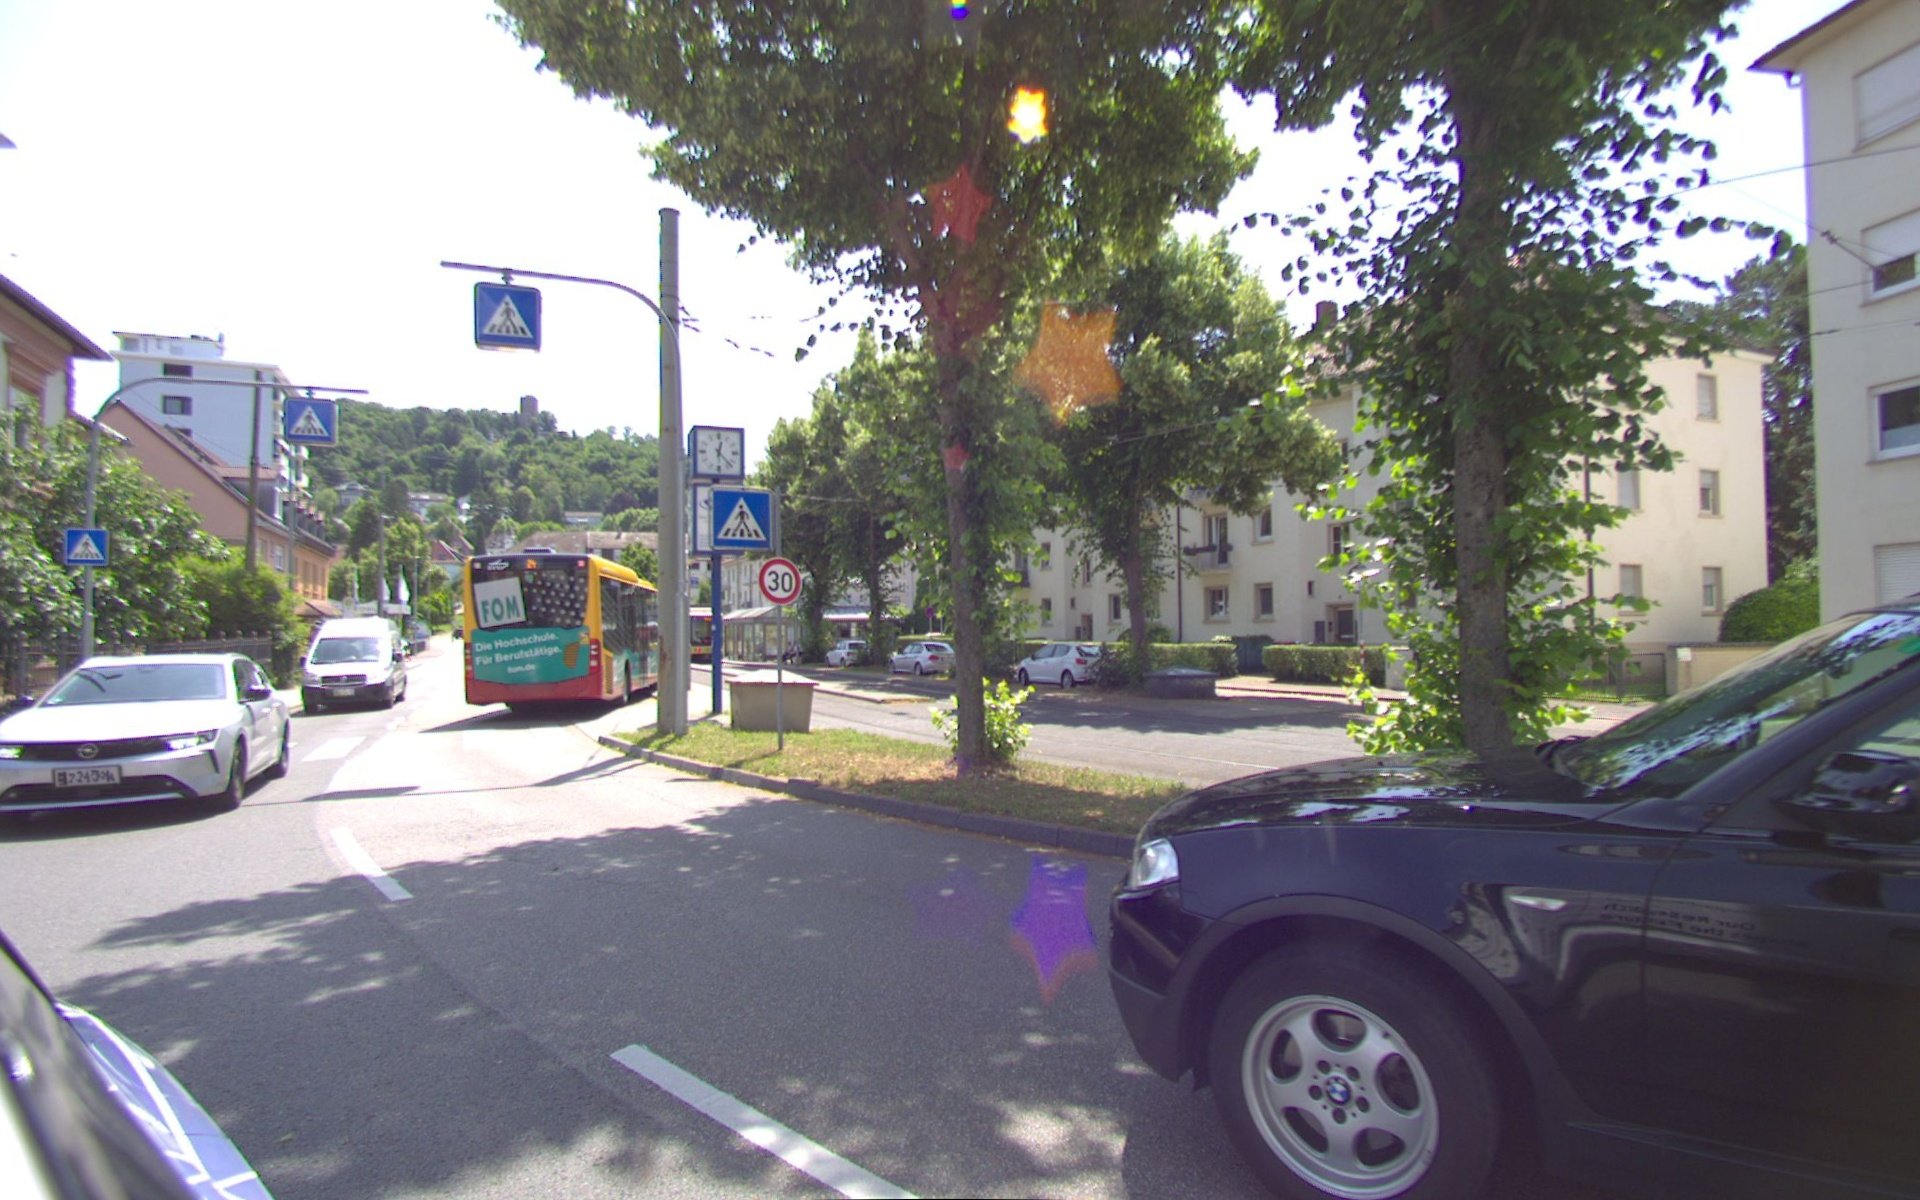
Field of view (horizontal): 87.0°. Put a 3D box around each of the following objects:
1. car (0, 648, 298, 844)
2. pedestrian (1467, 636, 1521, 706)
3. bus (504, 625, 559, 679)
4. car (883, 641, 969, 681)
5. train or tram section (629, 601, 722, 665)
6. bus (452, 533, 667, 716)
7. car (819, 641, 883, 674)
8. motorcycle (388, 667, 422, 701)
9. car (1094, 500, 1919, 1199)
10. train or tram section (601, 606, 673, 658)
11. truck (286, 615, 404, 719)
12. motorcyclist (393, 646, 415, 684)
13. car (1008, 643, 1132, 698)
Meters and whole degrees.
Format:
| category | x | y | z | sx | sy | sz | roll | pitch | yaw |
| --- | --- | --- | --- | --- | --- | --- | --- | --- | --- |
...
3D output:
| category | x | y | z | sx | sy | sz | roll | pitch | yaw |
| --- | --- | --- | --- | --- | --- | --- | --- | --- | --- |
| car | -7.903 | 1.237 | 9.983 | 1.771 | 1.477 | 4.184 | -1 | -2 | -26 |
| pedestrian | 12.407 | 1.641 | 23.517 | 0.764 | 1.572 | 0.746 | 0 | -2 | -27 |
| bus | -27.830 | 3.314 | 65.503 | 2.532 | 3.213 | 10.187 | 1 | -3 | -27 |
| car | -1.413 | 2.384 | 40.496 | 1.813 | 1.494 | 4.271 | 0 | -2 | -27 |
| train or tram section | -18.106 | 2.056 | 63.492 | 2.849 | 3.547 | 13.947 | 0 | -2 | -27 |
| bus | -8.941 | 0.659 | 24.054 | 2.664 | 3.322 | 10.881 | -1 | -2 | -10 |
| car | -5.324 | 2.737 | 49.069 | 1.813 | 1.494 | 3.885 | 0 | -2 | -27 |
| motorcycle | -18.465 | 2.788 | 33.694 | 0.658 | 1.066 | 1.440 | 0 | -2 | -15 |
| car | 2.667 | 0.671 | 2.385 | 4.309 | 1.644 | 1.844 | -1 | -3 | 29 |
| train or tram section | -24.447 | 2.389 | 75.958 | 2.849 | 3.547 | 13.947 | 0 | -2 | -27 |
| truck | -15.195 | 1.614 | 25.290 | 1.986 | 2.266 | 5.425 | -1 | -2 | -26 |
| motorcyclist | -18.496 | 2.167 | 33.684 | 0.532 | 1.252 | 0.557 | 0 | -2 | -15 |
| car | 3.235 | 2.070 | 30.547 | 1.813 | 1.494 | 3.968 | 0 | -2 | -27 |
